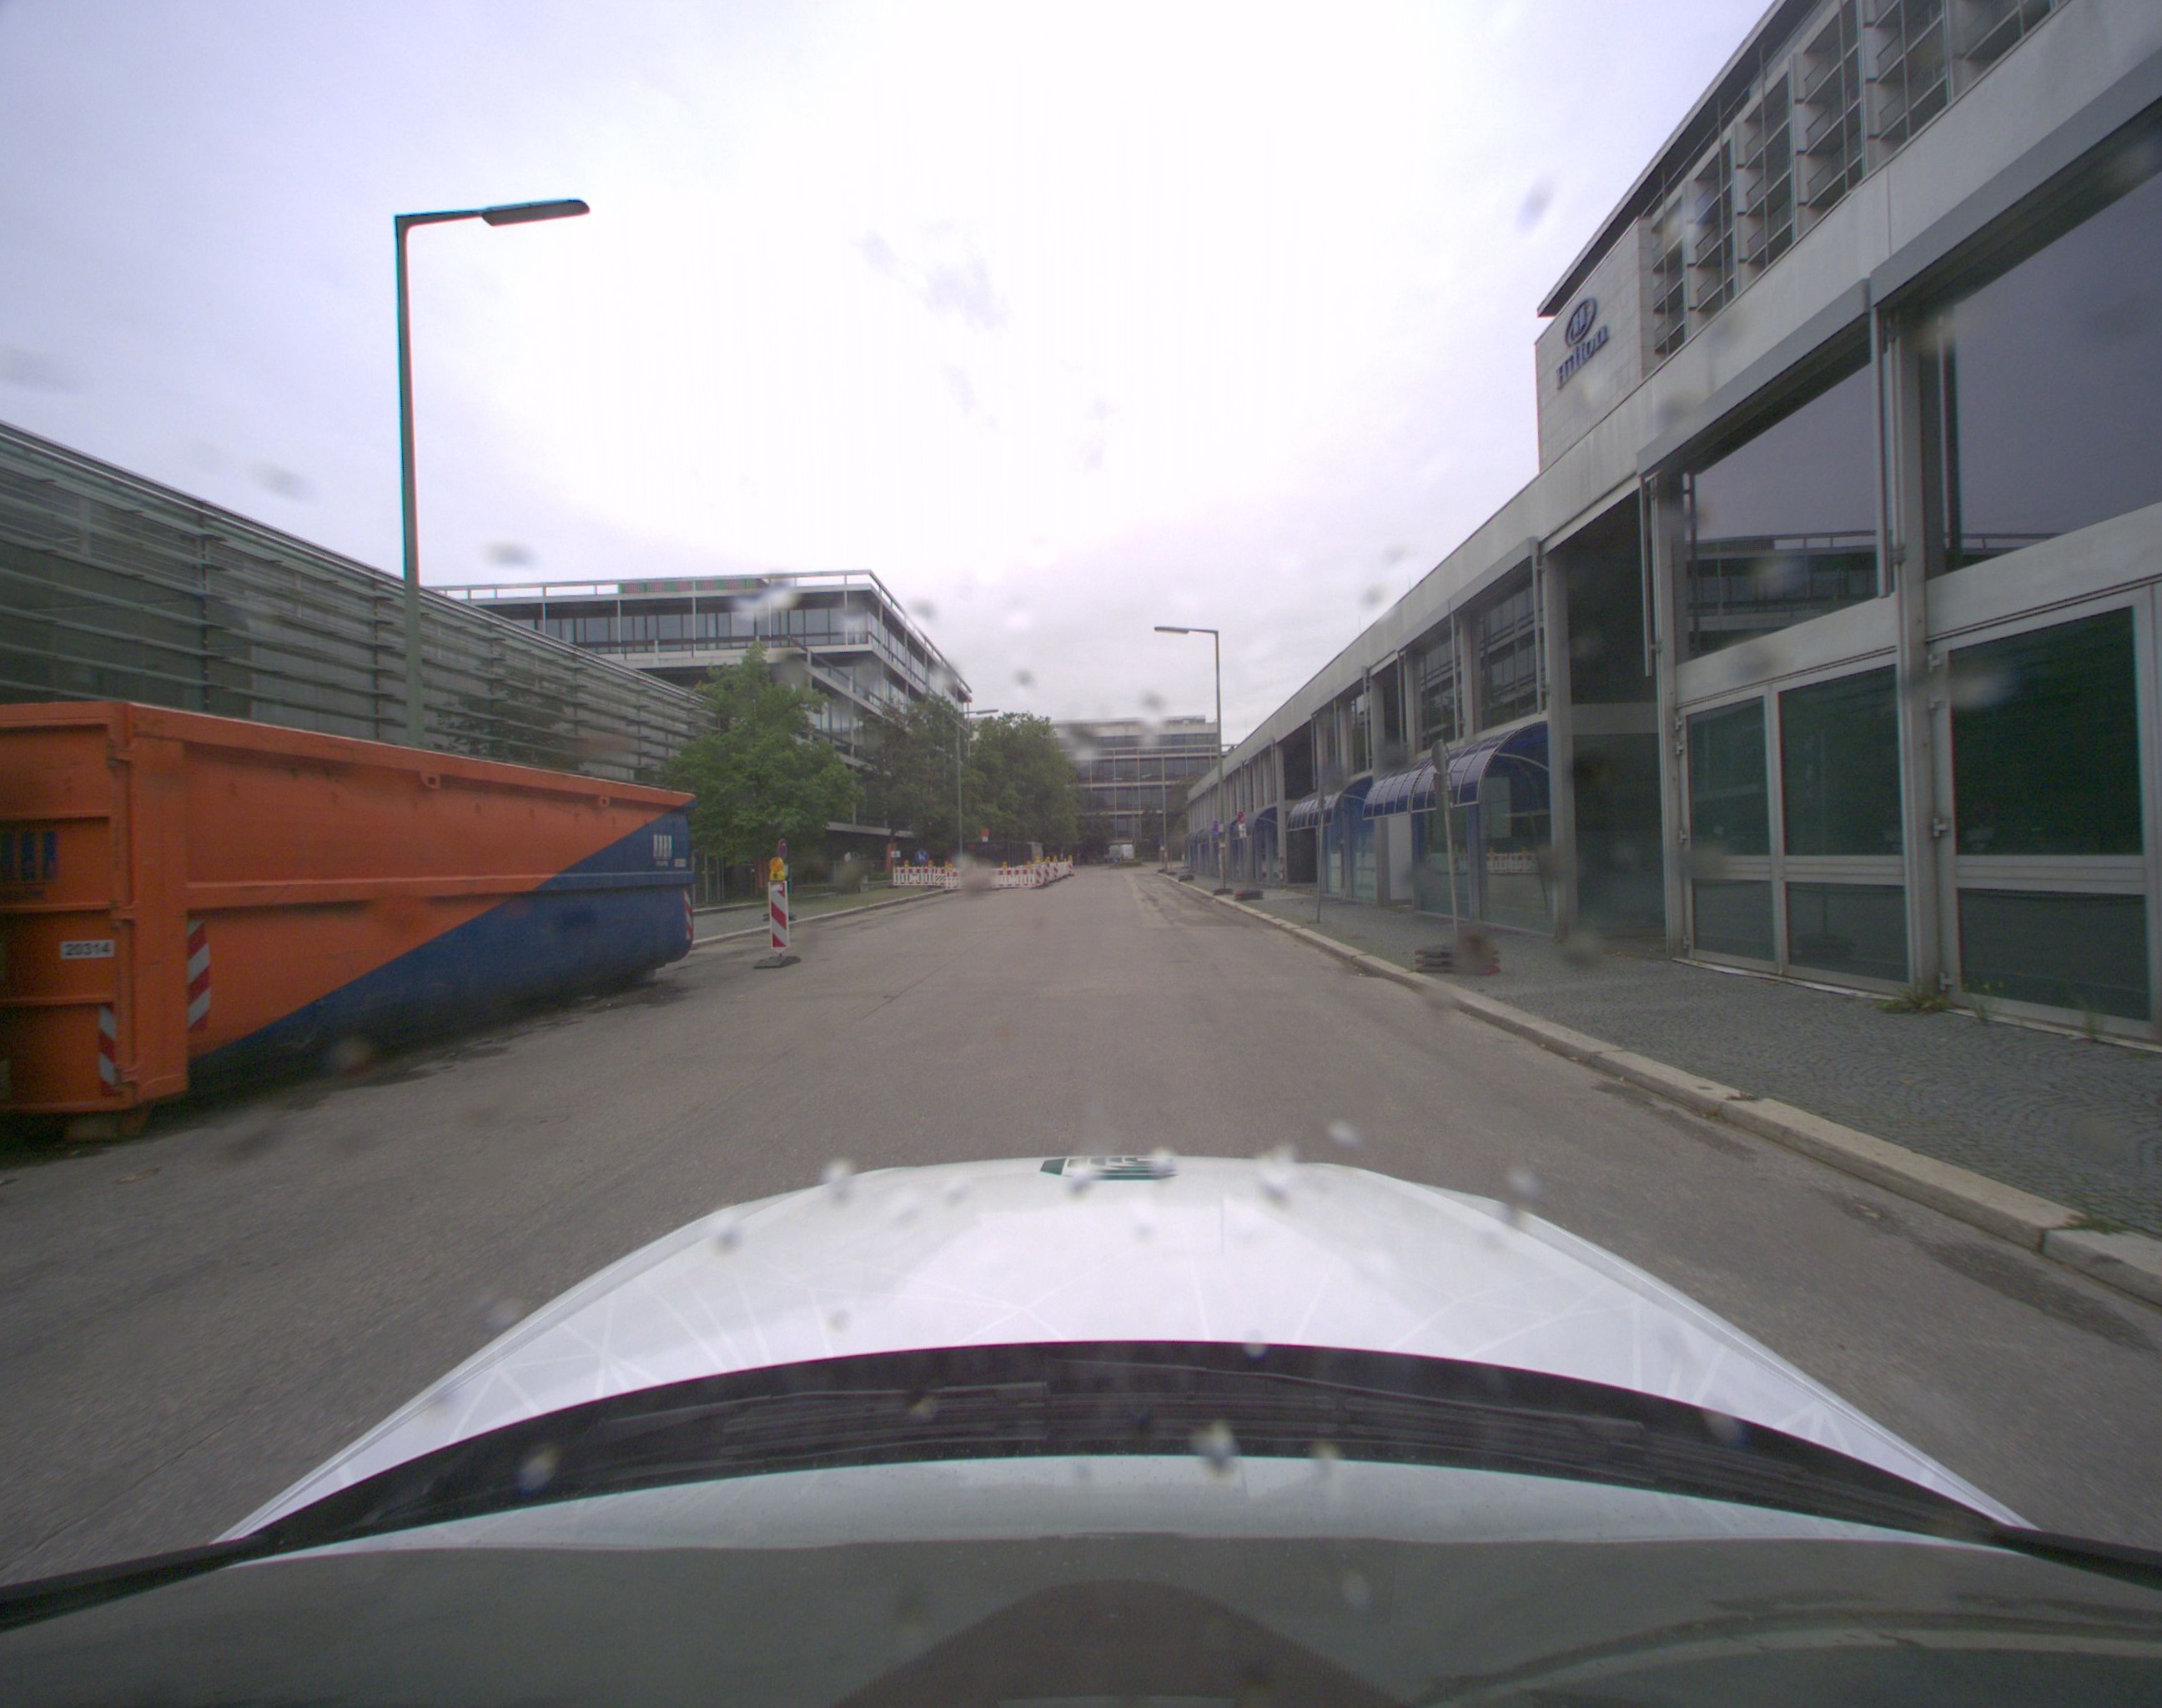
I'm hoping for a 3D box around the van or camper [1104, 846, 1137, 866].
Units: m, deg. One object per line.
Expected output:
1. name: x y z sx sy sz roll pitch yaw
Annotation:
1. van or camper: 5.772 0.310 118.974 2.165 2.581 6.487 -1 -2 -23
